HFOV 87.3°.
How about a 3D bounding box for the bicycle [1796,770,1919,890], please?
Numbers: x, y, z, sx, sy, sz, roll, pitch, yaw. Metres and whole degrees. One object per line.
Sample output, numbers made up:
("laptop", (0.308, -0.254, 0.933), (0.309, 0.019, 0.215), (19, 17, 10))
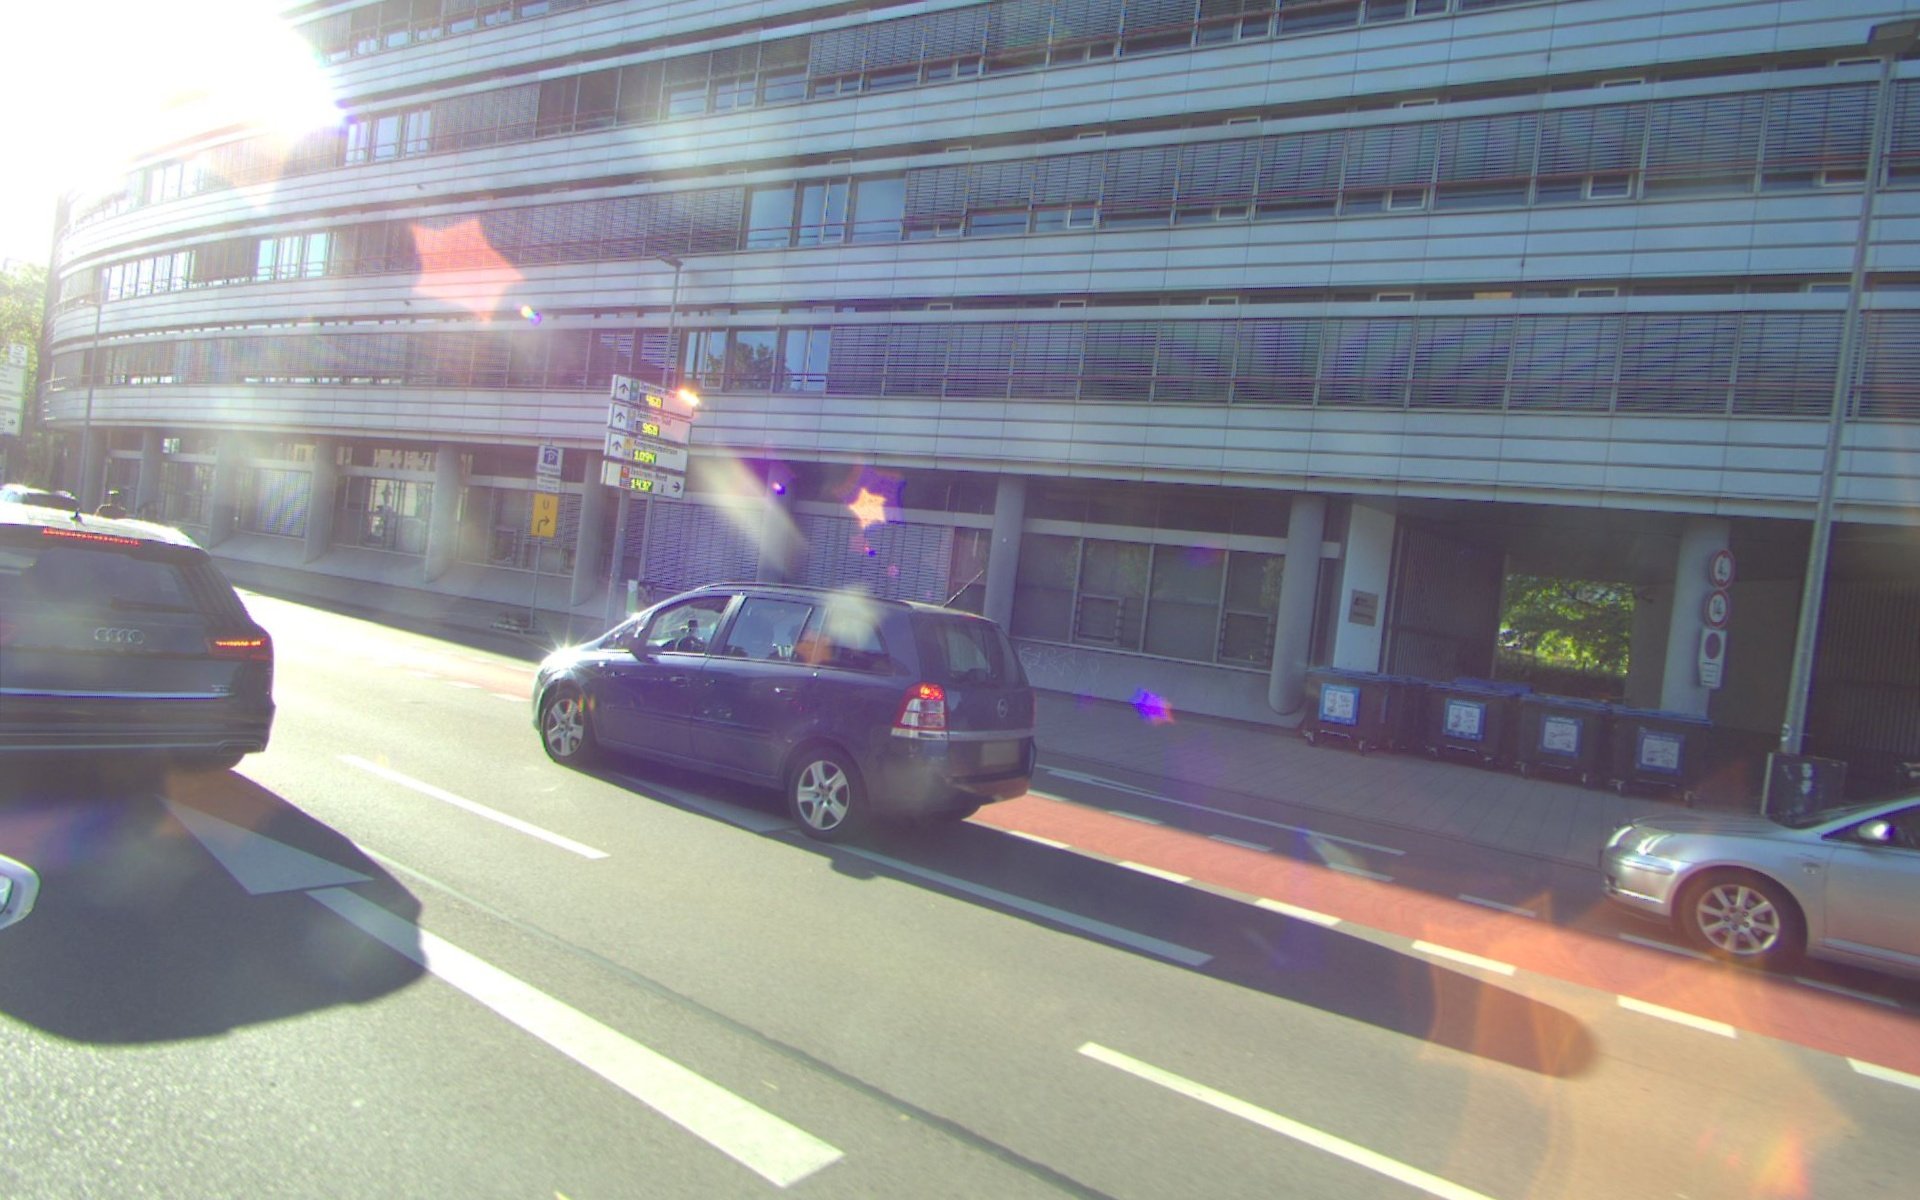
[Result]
("bicycle", (10.277, 2.532, 10.588), (2.174, 1.045, 0.498), (6, 0, 39))

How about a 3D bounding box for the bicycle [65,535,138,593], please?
("bicycle", (-18.238, -0.781, 21.352), (2.290, 1.010, 0.492), (7, 0, 34))

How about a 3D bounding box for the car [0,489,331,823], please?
("car", (-5.939, 0.095, 6.107), (4.423, 1.509, 1.814), (7, -2, 34))

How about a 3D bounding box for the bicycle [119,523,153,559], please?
("bicycle", (-26.666, -1.913, 32.538), (1.677, 1.072, 0.503), (6, 2, 40))

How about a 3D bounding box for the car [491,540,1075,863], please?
("car", (-1.523, 0.599, 7.860), (4.390, 1.649, 1.690), (7, 0, 33))

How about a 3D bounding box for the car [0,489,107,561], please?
("car", (-28.056, -2.341, 30.482), (4.256, 1.771, 1.996), (7, 0, 31))

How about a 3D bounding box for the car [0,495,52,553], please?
("car", (-31.410, -2.609, 32.681), (3.939, 1.671, 1.994), (7, 0, 37))

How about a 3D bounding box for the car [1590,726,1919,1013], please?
("car", (6.801, 1.885, 6.354), (4.428, 1.448, 1.747), (6, 0, 43))

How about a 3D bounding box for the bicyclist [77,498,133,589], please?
("bicyclist", (-18.128, -1.190, 21.323), (0.850, 1.813, 0.577), (7, 1, 35))

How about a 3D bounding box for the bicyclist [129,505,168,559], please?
("bicyclist", (-26.481, -2.224, 32.821), (0.977, 1.638, 0.683), (7, 1, 39))

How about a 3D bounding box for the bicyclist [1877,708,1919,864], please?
("bicyclist", (10.395, 1.992, 10.491), (1.028, 1.586, 0.624), (7, 0, 38))
